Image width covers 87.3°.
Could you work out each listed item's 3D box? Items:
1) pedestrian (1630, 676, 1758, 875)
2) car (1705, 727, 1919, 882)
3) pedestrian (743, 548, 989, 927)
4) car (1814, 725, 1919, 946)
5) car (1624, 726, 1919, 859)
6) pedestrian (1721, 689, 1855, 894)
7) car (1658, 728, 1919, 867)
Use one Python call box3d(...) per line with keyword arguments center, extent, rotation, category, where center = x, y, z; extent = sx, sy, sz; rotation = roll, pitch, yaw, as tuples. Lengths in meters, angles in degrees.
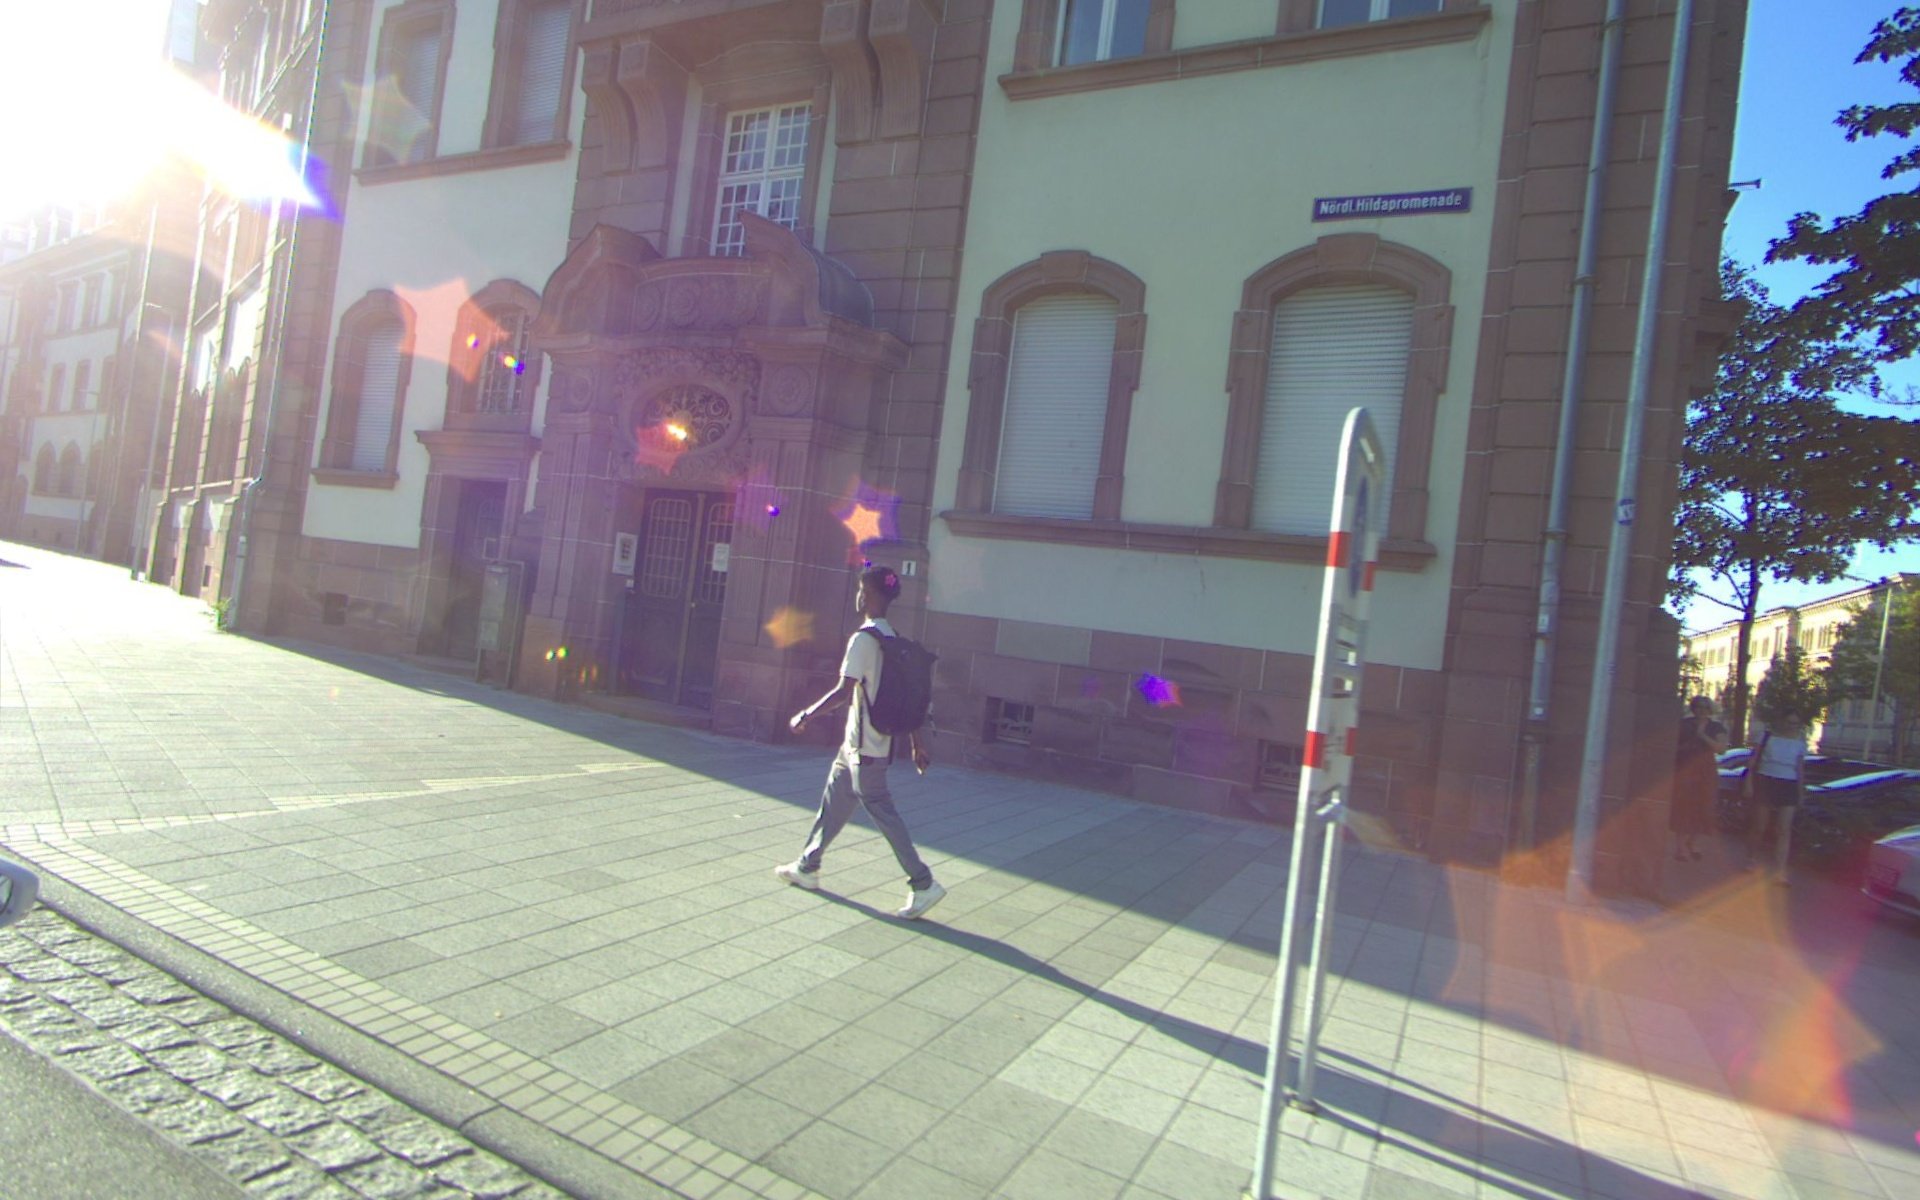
box3d(center=(7.602, 1.785, 10.463), extent=(0.776, 1.861, 0.716), rotation=(8, 0, 29), category="pedestrian")
box3d(center=(13.199, 2.987, 13.751), extent=(4.313, 1.603, 1.968), rotation=(10, -1, 24), category="car")
box3d(center=(-0.489, 0.655, 5.225), extent=(0.985, 1.741, 0.533), rotation=(6, 1, 28), category="pedestrian")
box3d(center=(9.693, 2.188, 7.416), extent=(4.636, 1.607, 1.968), rotation=(9, -1, 24), category="car")
box3d(center=(15.259, 3.521, 18.800), extent=(4.313, 1.513, 1.968), rotation=(8, -1, 24), category="car")
box3d(center=(8.259, 1.878, 10.073), extent=(0.714, 1.861, 0.612), rotation=(9, 0, 29), category="pedestrian")
box3d(center=(14.276, 3.258, 16.379), extent=(4.313, 1.513, 1.968), rotation=(8, -1, 24), category="car")
